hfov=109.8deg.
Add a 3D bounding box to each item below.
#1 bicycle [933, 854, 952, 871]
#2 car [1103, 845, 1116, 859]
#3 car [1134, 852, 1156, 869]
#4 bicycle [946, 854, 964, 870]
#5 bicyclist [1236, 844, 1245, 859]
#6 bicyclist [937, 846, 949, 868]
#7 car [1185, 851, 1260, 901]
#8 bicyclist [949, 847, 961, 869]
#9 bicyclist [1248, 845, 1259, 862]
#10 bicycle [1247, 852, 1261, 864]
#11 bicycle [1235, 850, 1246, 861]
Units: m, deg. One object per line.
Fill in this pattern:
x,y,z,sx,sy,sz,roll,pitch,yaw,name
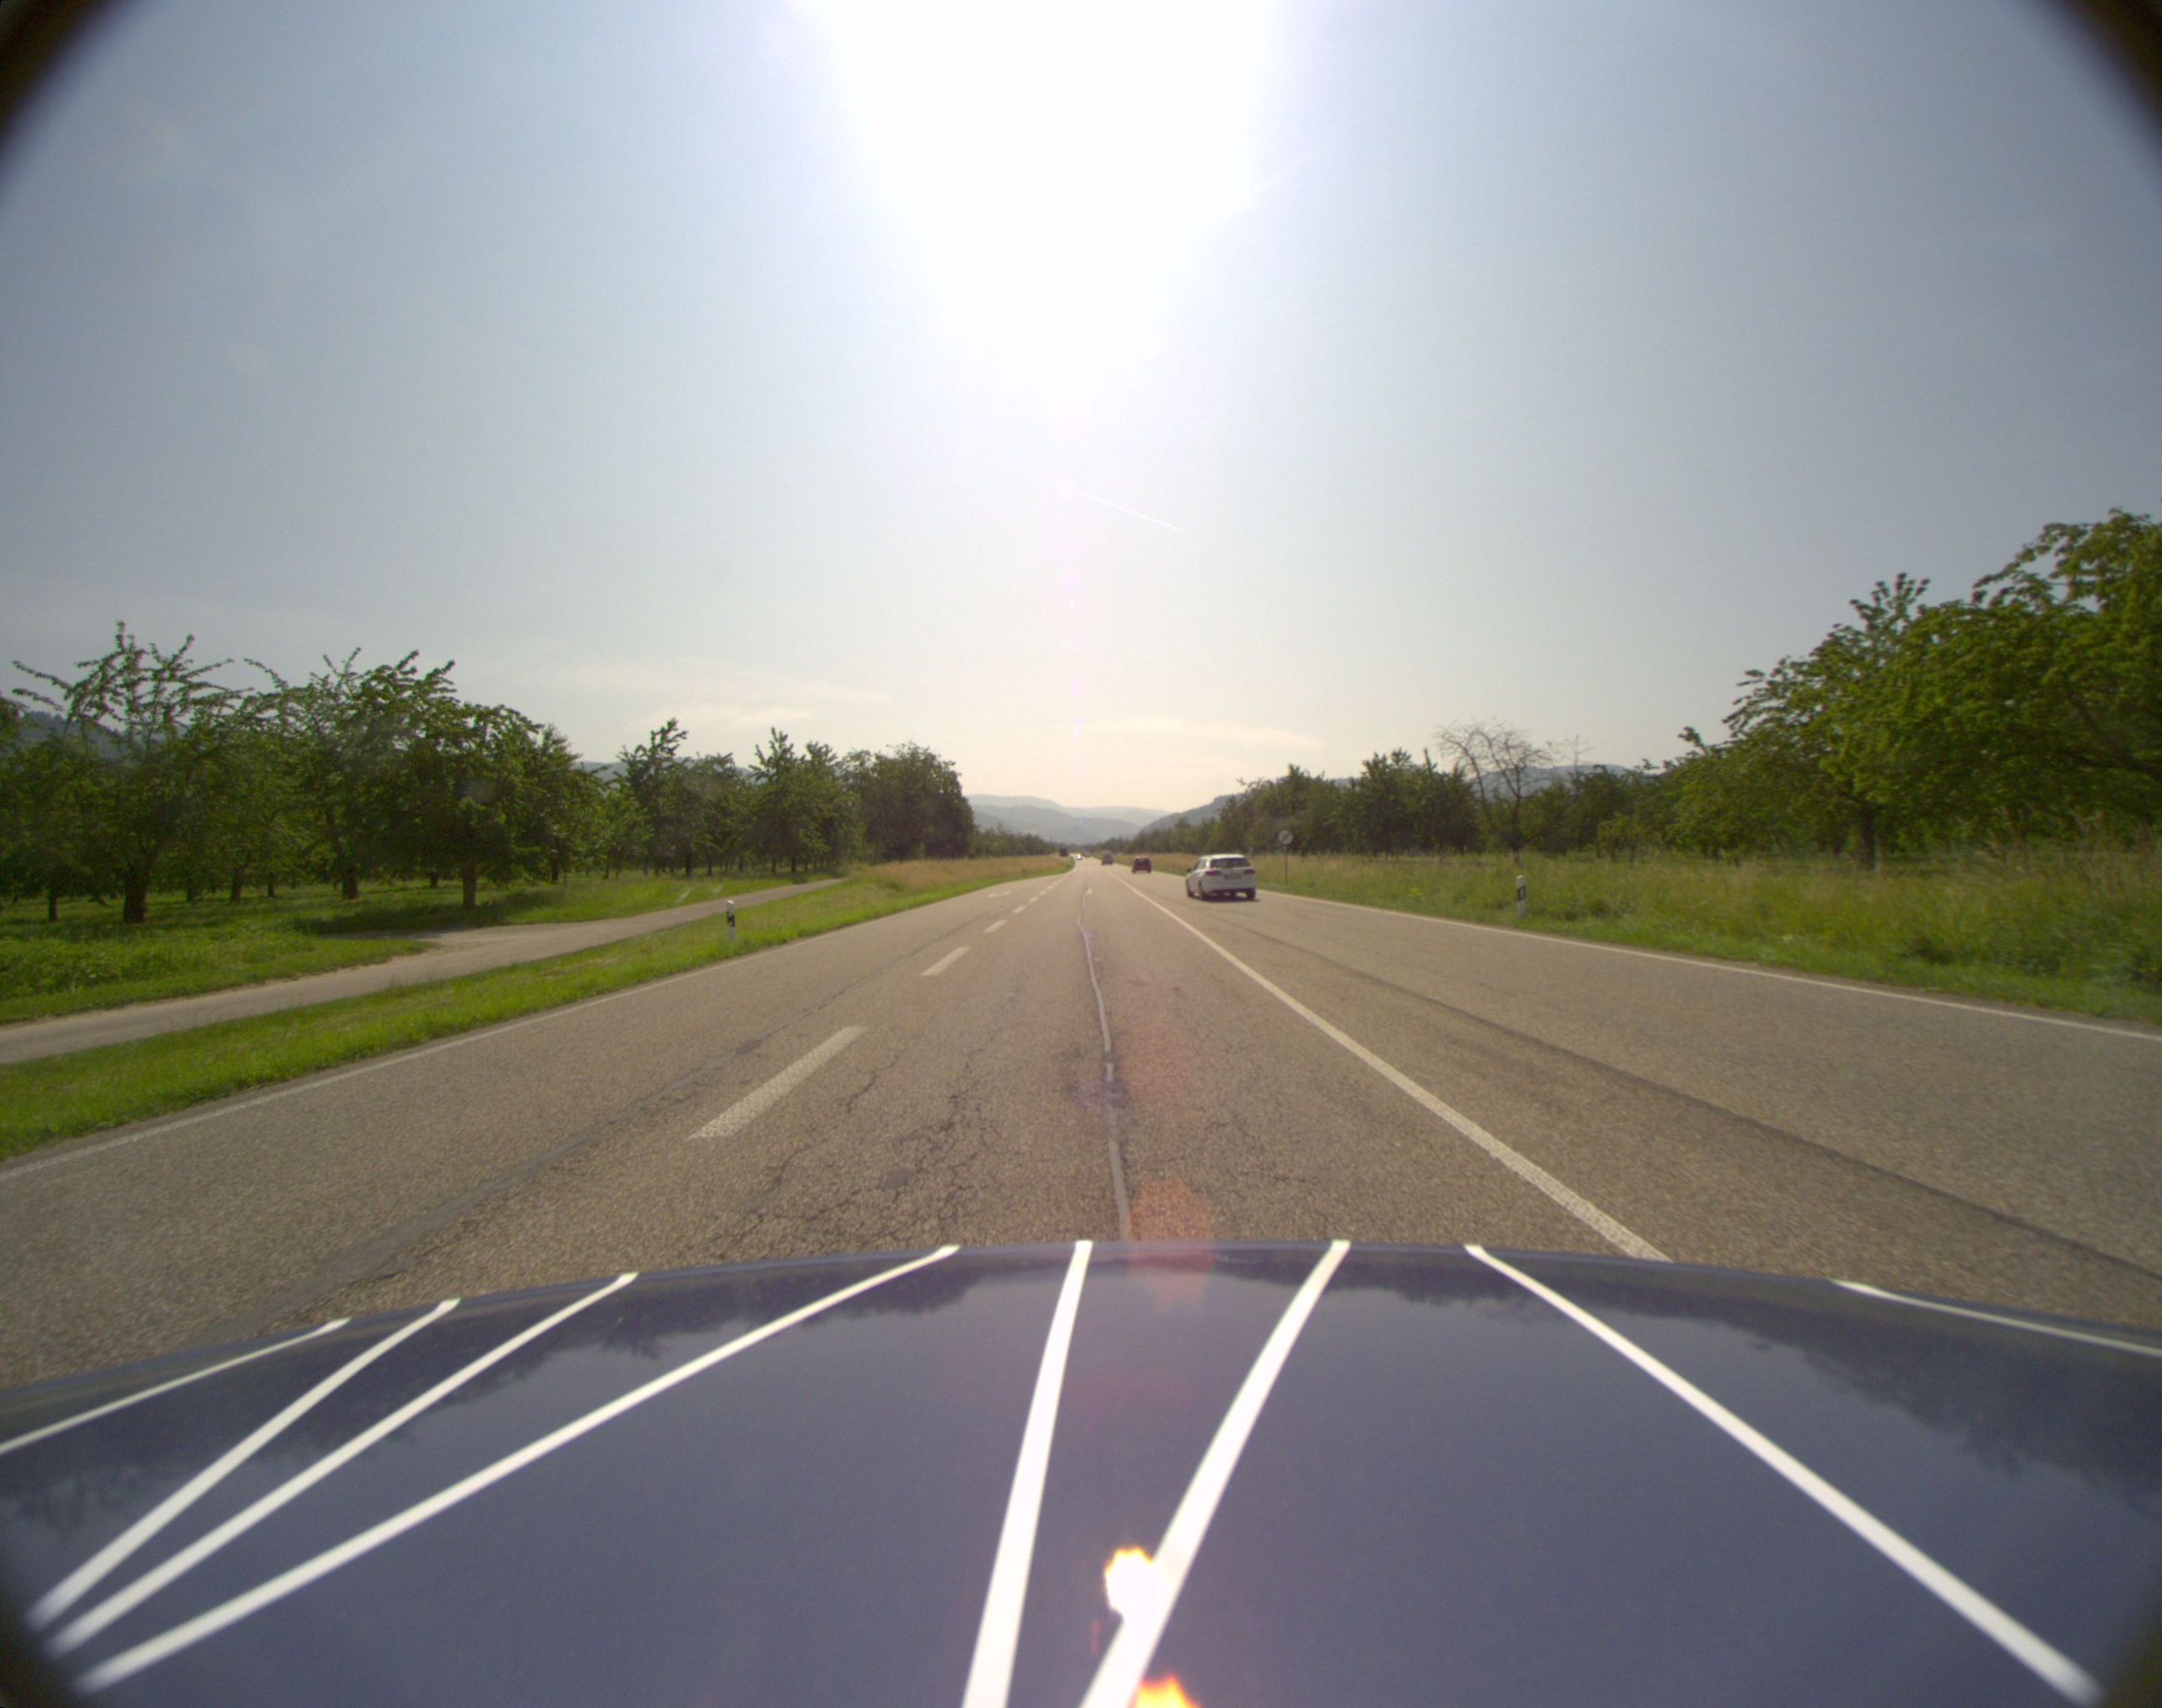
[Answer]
-12.016,0.725,66.058,0.751,1.410,2.223,0,0,13,bicycle
5.436,-0.441,144.949,2.166,2.653,6.142,-2,1,0,car
5.854,0.574,69.517,1.629,1.448,3.621,-2,0,-1,car
-10.898,0.696,65.959,0.751,1.410,2.223,0,0,13,bicycle
15.948,-0.235,76.080,0.643,1.406,0.863,-2,2,1,bicyclist
-12.027,0.291,66.049,0.751,1.918,0.828,0,1,13,bicyclist
4.726,0.686,25.976,1.679,1.485,4.136,-2,0,-1,car
-10.904,0.321,65.942,0.751,1.856,0.870,0,1,13,bicyclist
15.114,-0.089,66.516,0.742,1.446,0.863,-2,2,1,bicyclist
15.138,0.309,66.483,0.742,0.984,2.225,-2,1,1,bicycle
15.960,0.142,76.099,0.650,0.984,1.955,-2,1,1,bicycle
